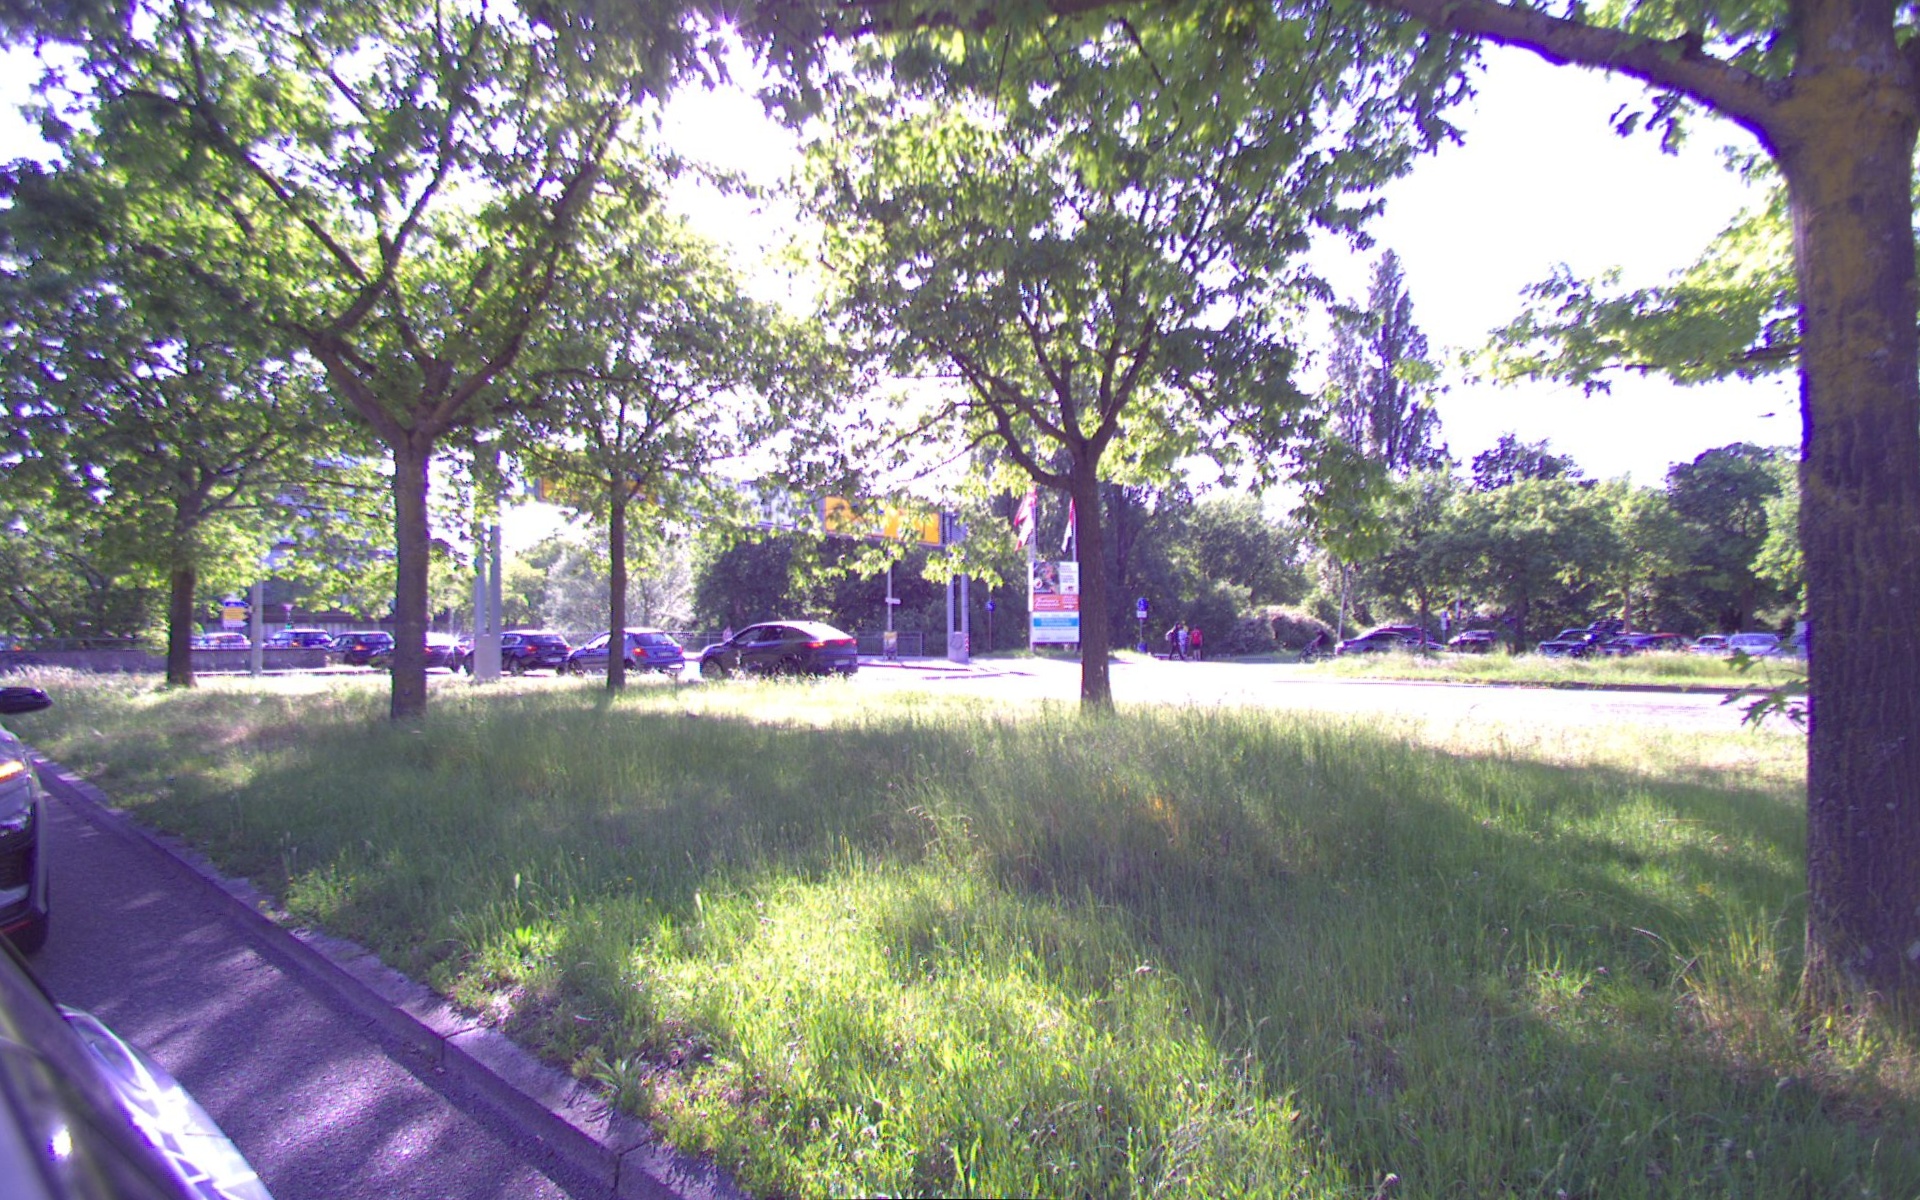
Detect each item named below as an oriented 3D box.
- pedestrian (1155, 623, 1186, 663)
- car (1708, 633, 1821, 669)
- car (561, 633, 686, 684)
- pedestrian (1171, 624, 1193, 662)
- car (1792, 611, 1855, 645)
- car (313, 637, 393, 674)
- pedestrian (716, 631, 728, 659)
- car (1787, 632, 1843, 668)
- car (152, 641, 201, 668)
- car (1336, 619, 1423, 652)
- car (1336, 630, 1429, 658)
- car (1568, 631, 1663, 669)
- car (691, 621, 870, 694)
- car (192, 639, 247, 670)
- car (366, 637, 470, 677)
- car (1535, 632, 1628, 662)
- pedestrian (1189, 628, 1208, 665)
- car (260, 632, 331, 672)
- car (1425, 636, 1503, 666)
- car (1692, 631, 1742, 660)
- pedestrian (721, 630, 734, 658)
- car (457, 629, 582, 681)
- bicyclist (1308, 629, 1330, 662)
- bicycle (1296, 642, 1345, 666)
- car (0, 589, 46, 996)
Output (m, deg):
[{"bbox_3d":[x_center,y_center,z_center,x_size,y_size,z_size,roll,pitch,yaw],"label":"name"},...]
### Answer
[{"bbox_3d":[8.691,1.776,41.780,0.985,1.642,0.904,-2,-2,33],"label":"pedestrian"},{"bbox_3d":[26.887,1.697,33.909,2.783,1.165,1.327,-1,-2,32],"label":"car"},{"bbox_3d":[-9.588,1.645,28.784,3.601,1.374,1.543,-2,-2,35],"label":"car"},{"bbox_3d":[11.099,2.152,50.714,0.846,1.881,0.903,-1,0,-3],"label":"pedestrian"},{"bbox_3d":[43.888,1.414,51.396,3.694,1.681,1.895,1,-2,-41],"label":"car"},{"bbox_3d":[-23.416,2.123,39.025,3.195,1.349,1.464,-3,-2,35],"label":"car"},{"bbox_3d":[-12.731,2.403,54.138,0.544,1.510,0.416,-2,-2,33],"label":"pedestrian"},{"bbox_3d":[35.614,2.065,42.218,1.617,1.430,3.038,-2,-2,38],"label":"car"},{"bbox_3d":[-39.996,2.773,51.657,2.761,1.270,1.186,-4,-3,35],"label":"car"},{"bbox_3d":[22.420,1.896,54.286,3.959,1.678,1.992,-1,-2,13],"label":"car"},{"bbox_3d":[21.130,2.201,50.755,3.957,1.385,1.826,-1,-2,11],"label":"car"},{"bbox_3d":[23.535,1.784,36.433,2.783,1.315,1.327,-2,-2,32],"label":"car"},{"bbox_3d":[-4.473,1.370,24.929,4.452,1.660,1.810,-2,-2,36],"label":"car"},{"bbox_3d":[-35.087,2.587,47.937,2.875,1.350,1.214,-5,-4,34],"label":"car"},{"bbox_3d":[-19.223,1.986,35.854,4.058,1.323,1.604,-2,-2,35],"label":"car"},{"bbox_3d":[23.355,1.774,38.116,2.774,1.072,1.324,-1,-2,23],"label":"car"},{"bbox_3d":[11.843,2.297,50.251,0.742,1.802,0.905,-1,0,2],"label":"pedestrian"},{"bbox_3d":[-28.146,2.205,42.844,3.195,1.571,1.433,-4,-3,34],"label":"car"},{"bbox_3d":[31.551,3.193,63.483,3.961,1.807,1.991,-1,-2,14],"label":"car"},{"bbox_3d":[32.971,1.984,44.112,1.616,1.187,3.040,-2,-2,35],"label":"car"},{"bbox_3d":[-12.520,2.366,54.481,0.544,1.510,0.416,-2,-2,33],"label":"pedestrian"},{"bbox_3d":[-14.165,1.726,32.451,4.215,1.562,1.853,-2,-2,37],"label":"car"},{"bbox_3d":[16.459,2.083,46.437,0.839,1.500,0.678,-1,-2,13],"label":"bicyclist"},{"bbox_3d":[16.523,2.486,46.382,2.016,1.060,0.684,-1,-2,13],"label":"bicycle"},{"bbox_3d":[-5.629,0.766,4.599,3.986,1.544,1.730,-2,-2,41],"label":"car"}]
